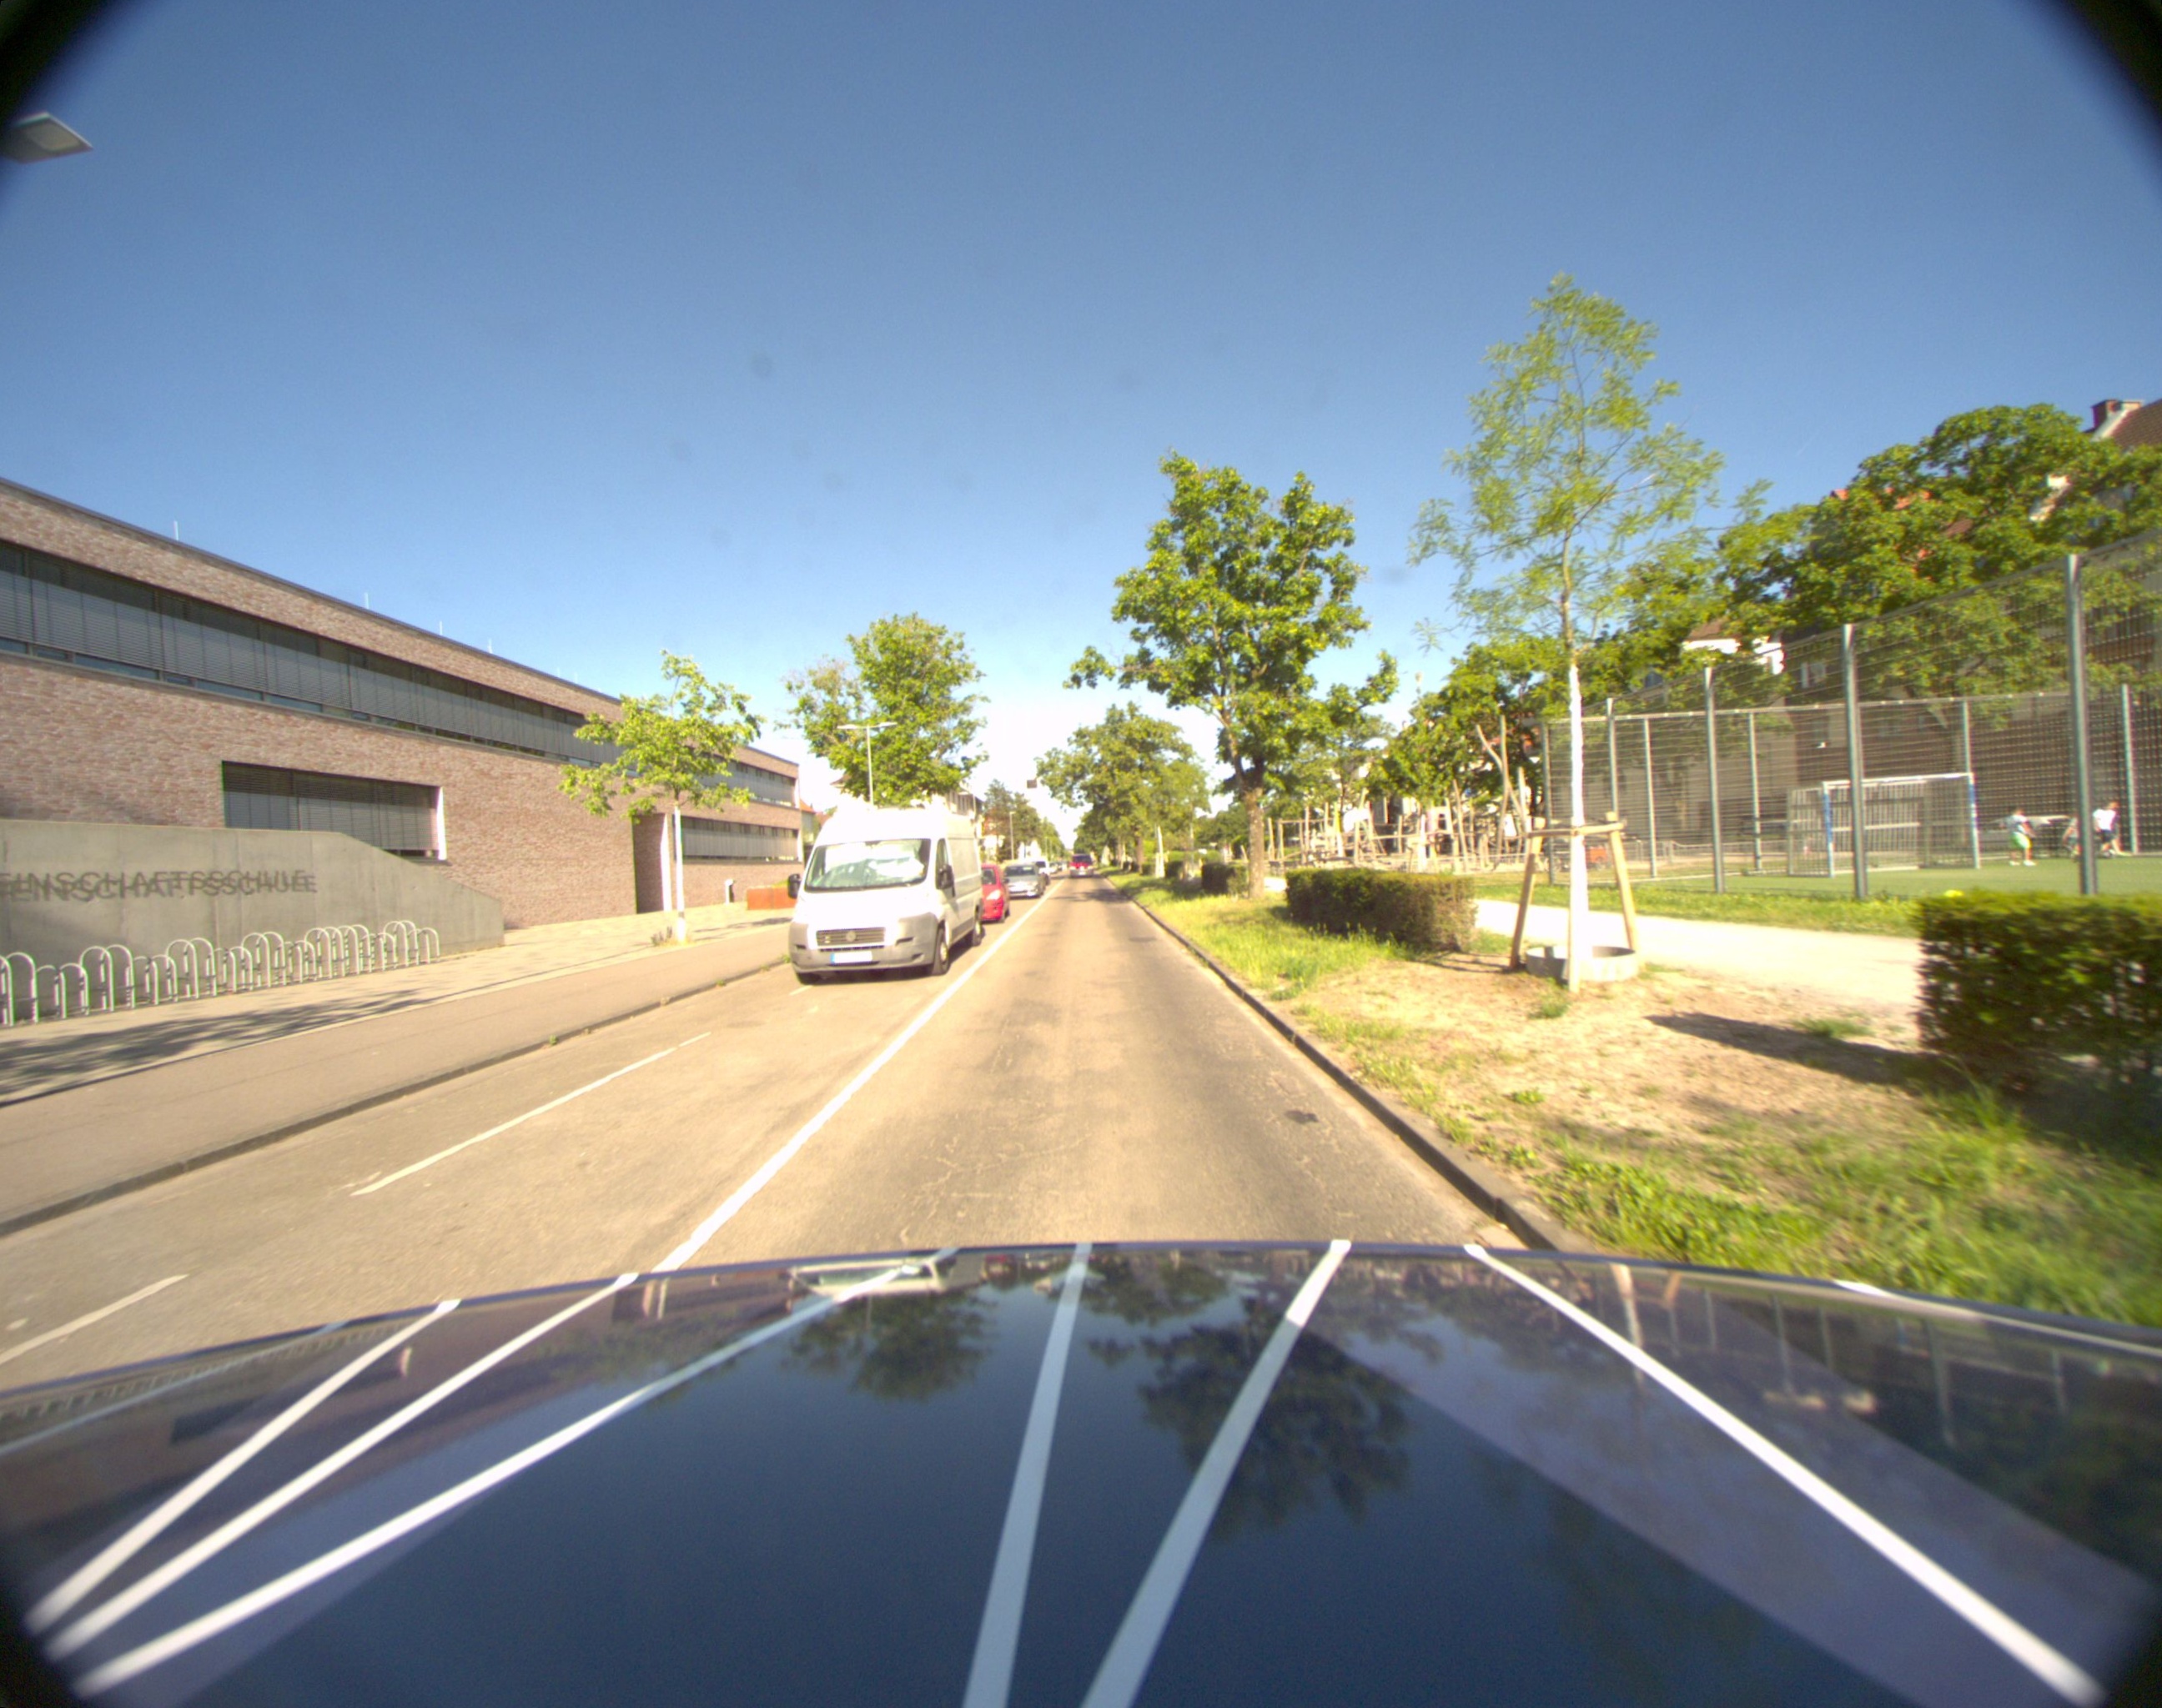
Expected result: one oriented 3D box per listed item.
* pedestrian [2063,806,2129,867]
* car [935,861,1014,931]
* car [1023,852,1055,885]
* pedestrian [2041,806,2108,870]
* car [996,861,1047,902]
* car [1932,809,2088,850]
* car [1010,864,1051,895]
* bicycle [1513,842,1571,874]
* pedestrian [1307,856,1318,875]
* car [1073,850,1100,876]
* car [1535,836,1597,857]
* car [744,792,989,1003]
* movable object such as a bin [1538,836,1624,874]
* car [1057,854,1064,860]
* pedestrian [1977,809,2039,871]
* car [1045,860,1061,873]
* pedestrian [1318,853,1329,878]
[{"bbox_3d":[22.915,-0.391,17.162,0.648,1.310,0.651,-3,0,30],"label":"pedestrian"},{"bbox_3d":[-2.722,1.034,20.111,1.624,1.579,3.591,-3,0,-2],"label":"car"},{"bbox_3d":[-2.663,0.919,49.021,1.812,1.897,4.461,-4,0,-1],"label":"car"},{"bbox_3d":[21.566,-0.344,16.514,0.648,1.310,0.651,-3,0,30],"label":"pedestrian"},{"bbox_3d":[-2.452,1.117,32.316,1.706,1.470,4.173,-3,0,1],"label":"car"},{"bbox_3d":[39.686,-0.989,32.630,1.799,1.501,4.000,-3,0,1],"label":"car"},{"bbox_3d":[-2.443,1.213,37.719,1.706,1.317,4.129,-3,0,0],"label":"car"},{"bbox_3d":[17.051,0.156,28.133,1.799,1.101,0.500,-3,0,-1],"label":"bicycle"},{"bbox_3d":[16.514,0.808,54.216,0.649,1.321,0.651,-3,0,18],"label":"pedestrian"},{"bbox_3d":[0.418,0.734,62.253,2.092,2.000,4.844,-2,0,0],"label":"car"},{"bbox_3d":[39.481,-0.562,61.982,1.911,1.501,4.764,-3,0,-1],"label":"car"},{"bbox_3d":[-3.059,0.559,12.383,2.247,2.559,5.432,-3,0,1],"label":"car"},{"bbox_3d":[17.546,0.042,26.684,2.337,1.234,1.056,-2,0,-4],"label":"movable object such as a bin"},{"bbox_3d":[-5.836,0.888,218.923,1.799,1.529,4.001,-3,-1,0],"label":"car"},{"bbox_3d":[20.690,-0.309,16.966,0.648,1.310,0.651,-3,0,30],"label":"pedestrian"},{"bbox_3d":[-3.301,1.459,90.145,1.664,1.456,4.410,-5,0,-4],"label":"car"},{"bbox_3d":[16.772,0.801,52.574,0.649,1.651,0.651,-3,0,18],"label":"pedestrian"}]
